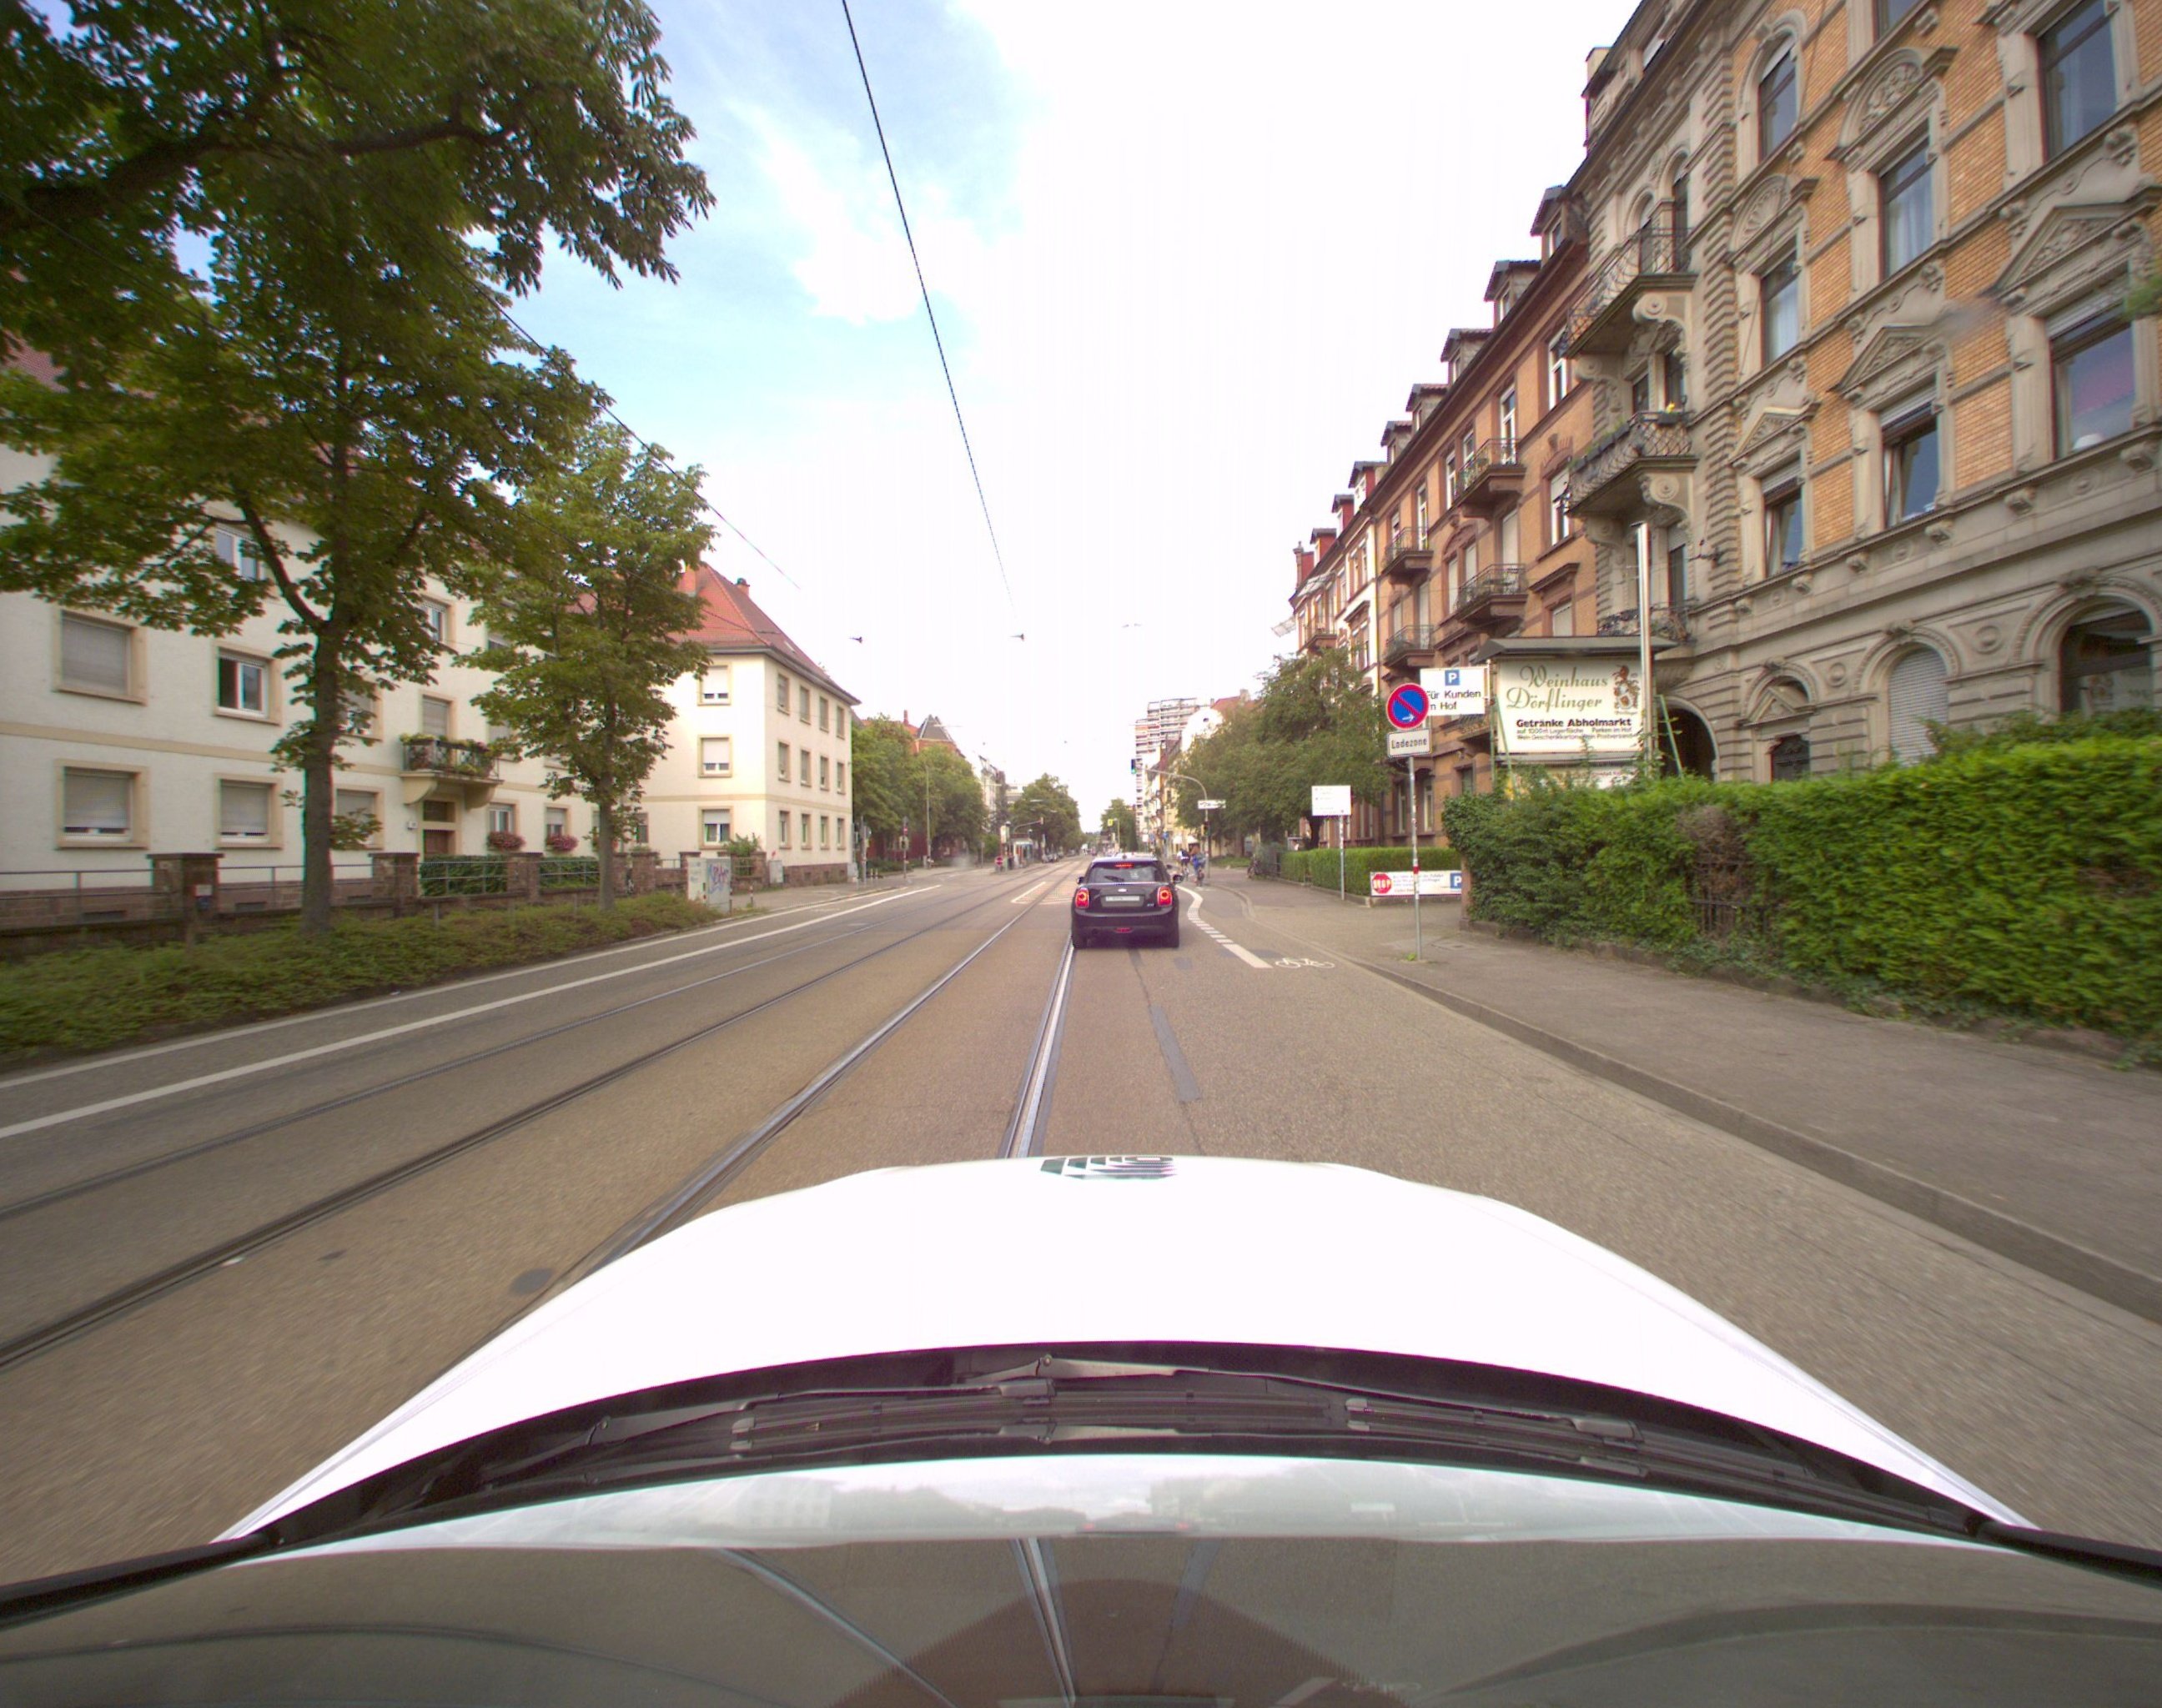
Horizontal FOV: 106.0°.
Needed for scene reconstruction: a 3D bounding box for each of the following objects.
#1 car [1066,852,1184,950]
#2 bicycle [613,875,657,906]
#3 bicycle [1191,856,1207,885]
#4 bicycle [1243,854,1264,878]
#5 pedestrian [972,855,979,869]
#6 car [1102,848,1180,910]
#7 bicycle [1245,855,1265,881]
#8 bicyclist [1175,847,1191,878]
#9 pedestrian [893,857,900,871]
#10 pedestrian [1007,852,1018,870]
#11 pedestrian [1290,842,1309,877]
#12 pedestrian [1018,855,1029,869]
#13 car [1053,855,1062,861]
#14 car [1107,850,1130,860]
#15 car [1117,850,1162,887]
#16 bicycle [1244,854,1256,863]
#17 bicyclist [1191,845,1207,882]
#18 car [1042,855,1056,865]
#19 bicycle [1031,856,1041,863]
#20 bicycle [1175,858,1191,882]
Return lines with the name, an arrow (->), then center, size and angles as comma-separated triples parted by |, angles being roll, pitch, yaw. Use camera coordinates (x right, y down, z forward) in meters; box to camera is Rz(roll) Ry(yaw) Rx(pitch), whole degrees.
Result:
car -> 0.830, 0.712, 14.266 | 1.743, 1.441, 4.005 | -1, 0, 5
bicycle -> -14.513, 1.171, 26.552 | 0.476, 0.915, 1.672 | -1, 0, 1
bicycle -> 4.982, 0.676, 34.441 | 0.595, 1.170, 1.700 | -1, 0, 7
bicycle -> 8.263, 0.583, 39.100 | 0.668, 1.106, 1.672 | -1, 0, 1
pedestrian -> -12.928, 0.967, 100.164 | 0.691, 1.719, 0.758 | -1, 0, 3
car -> 1.638, 0.617, 22.363 | 1.918, 1.510, 4.004 | -1, 0, 4
bicycle -> 7.773, 0.598, 36.383 | 0.507, 1.088, 1.550 | -4, 0, 1
bicyclist -> 5.234, 0.429, 41.862 | 0.681, 1.564, 0.999 | -1, 0, 3
pedestrian -> -23.119, 1.275, 102.042 | 0.831, 1.703, 0.731 | -1, 0, -4
pedestrian -> -5.996, 0.603, 71.171 | 0.850, 1.621, 0.842 | -1, 0, -4
pedestrian -> 10.980, 0.268, 40.952 | 0.727, 1.754, 0.951 | -1, 0, 6
pedestrian -> -5.555, 0.762, 79.077 | 1.056, 1.294, 0.984 | -1, 0, -4
car -> -6.164, 0.931, 211.367 | 1.986, 1.552, 4.001 | -1, 0, 2
car -> 8.929, 0.192, 193.677 | 5.065, 2.272, 2.369 | -1, 0, -39
car -> 2.482, 0.589, 34.820 | 1.744, 1.441, 4.484 | -1, 0, 4
bicycle -> 20.708, 0.546, 99.736 | 0.526, 1.128, 1.905 | -1, 0, 43
bicyclist -> 4.974, 0.390, 34.454 | 0.591, 1.550, 1.015 | -1, 0, 6
car -> -4.926, 0.938, 123.975 | 1.744, 1.441, 4.003 | 1, 0, 3
bicycle -> -7.913, 0.984, 142.179 | 1.680, 1.119, 0.566 | -1, 0, -38
bicycle -> 5.233, 0.794, 41.764 | 0.681, 1.170, 1.698 | -1, 0, 3
